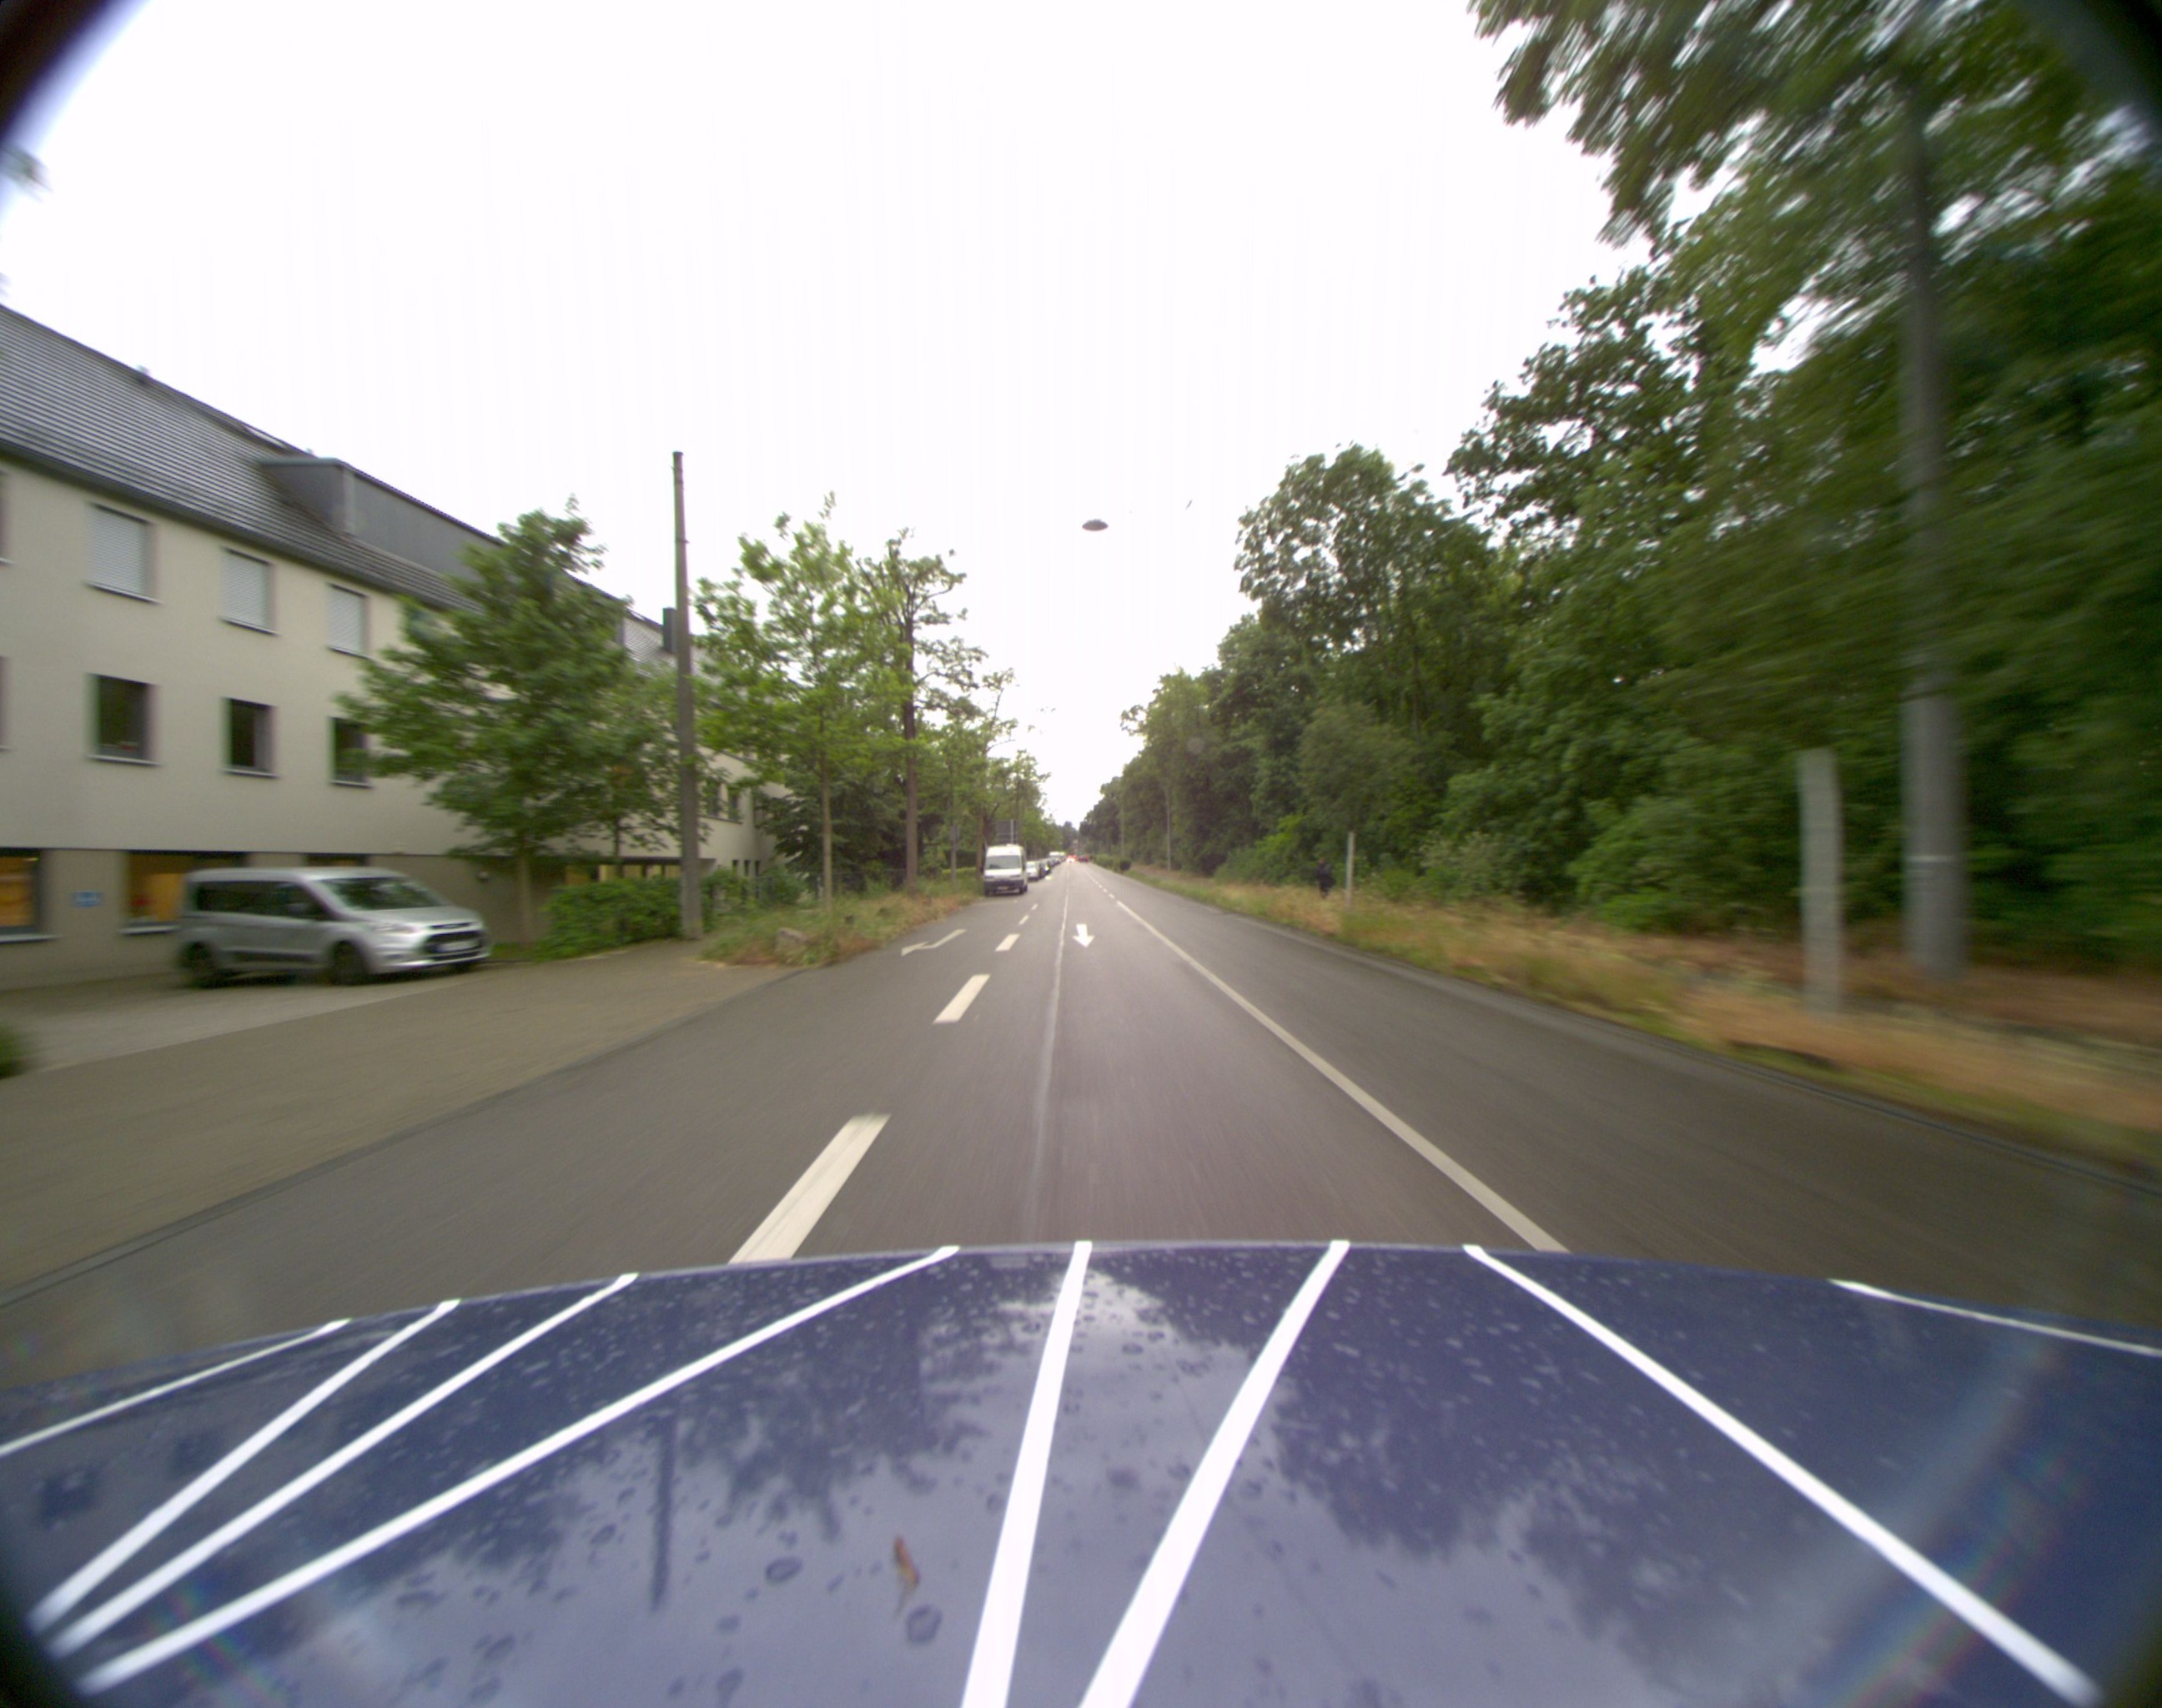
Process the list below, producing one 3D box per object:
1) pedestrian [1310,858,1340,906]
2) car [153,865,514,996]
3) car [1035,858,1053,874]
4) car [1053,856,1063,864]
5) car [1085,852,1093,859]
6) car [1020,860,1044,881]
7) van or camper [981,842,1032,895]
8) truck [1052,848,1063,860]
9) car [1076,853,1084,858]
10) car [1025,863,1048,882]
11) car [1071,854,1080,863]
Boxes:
[{"bbox_3d":[8.389,0.949,26.142,0.783,1.598,0.732,-1,0,-2],"label":"pedestrian"},{"bbox_3d":[-11.731,1.164,12.059,4.312,1.807,1.876,-2,0,10],"label":"car"},{"bbox_3d":[-3.694,1.186,76.216,1.621,1.459,4.409,-3,0,-2],"label":"car"},{"bbox_3d":[-4.248,1.040,137.575,1.789,1.452,3.999,0,0,-2],"label":"car"},{"bbox_3d":[1.866,0.406,172.489,1.680,1.608,4.061,0,0,-2],"label":"car"},{"bbox_3d":[-3.779,1.224,59.008,1.575,1.463,3.764,-3,0,0],"label":"car"},{"bbox_3d":[-3.788,0.698,39.751,2.042,2.465,5.637,-4,0,-1],"label":"van or camper"},{"bbox_3d":[-4.620,0.047,150.500,2.230,2.321,5.112,0,0,-2],"label":"truck"},{"bbox_3d":[-0.273,0.407,212.859,1.852,1.490,3.999,0,0,-2],"label":"car"},{"bbox_3d":[-3.788,1.553,64.900,1.621,1.462,3.944,-3,0,1],"label":"car"},{"bbox_3d":[-1.247,1.137,181.204,1.998,2.002,3.999,-2,1,1],"label":"car"}]
